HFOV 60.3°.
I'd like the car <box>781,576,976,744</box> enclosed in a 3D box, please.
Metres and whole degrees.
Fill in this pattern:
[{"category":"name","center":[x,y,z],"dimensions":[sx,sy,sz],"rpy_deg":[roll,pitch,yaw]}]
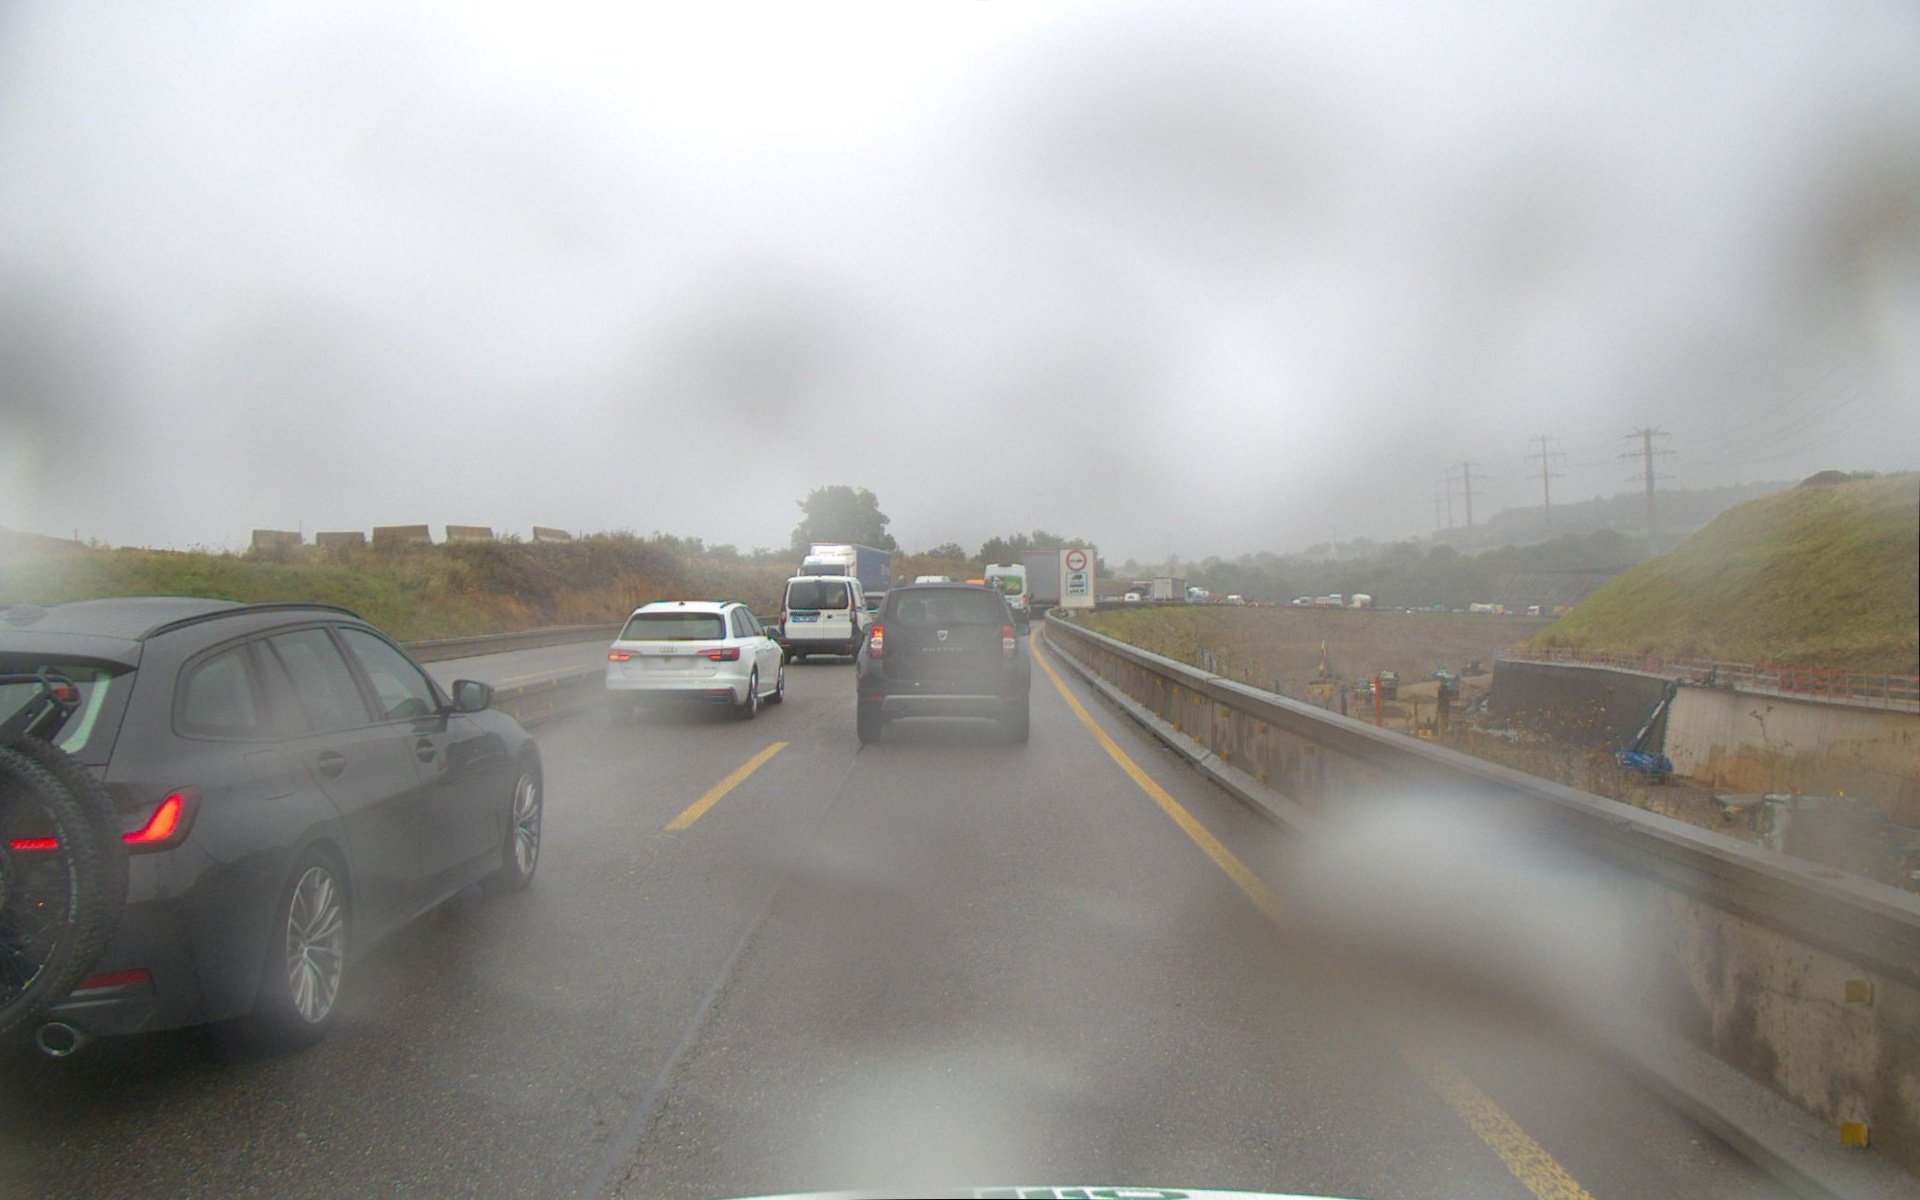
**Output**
[{"category":"car","center":[-0.773,0.598,18.023],"dimensions":[1.788,1.619,4.001],"rpy_deg":[0,-1,2]}]

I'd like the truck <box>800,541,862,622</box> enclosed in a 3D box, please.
[{"category":"truck","center":[-6.739,-1.001,87.166],"dimensions":[2.731,4.105,5.821],"rpy_deg":[0,1,1]}]

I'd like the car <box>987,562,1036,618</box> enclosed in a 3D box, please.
[{"category":"car","center":[2.364,-0.424,75.248],"dimensions":[1.787,2.480,4.161],"rpy_deg":[0,-1,8]}]

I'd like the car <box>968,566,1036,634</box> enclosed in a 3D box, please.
[{"category":"car","center":[1.233,0.017,46.985],"dimensions":[1.788,1.847,4.002],"rpy_deg":[0,-1,3]}]

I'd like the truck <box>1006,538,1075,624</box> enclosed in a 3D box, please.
[{"category":"truck","center":[5.182,-1.107,104.090],"dimensions":[3.468,5.166,10.449],"rpy_deg":[0,-1,8]}]

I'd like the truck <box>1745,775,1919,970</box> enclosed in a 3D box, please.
[{"category":"truck","center":[23.151,6.707,42.147],"dimensions":[2.672,3.552,9.070],"rpy_deg":[0,-1,5]}]

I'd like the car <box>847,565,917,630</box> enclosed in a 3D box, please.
[{"category":"car","center":[-2.279,-0.052,49.320],"dimensions":[1.788,1.847,4.001],"rpy_deg":[0,-1,1]}]

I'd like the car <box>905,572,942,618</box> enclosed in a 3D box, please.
[{"category":"car","center":[-2.203,-0.369,100.928],"dimensions":[1.964,2.700,6.886],"rpy_deg":[0,1,1]}]

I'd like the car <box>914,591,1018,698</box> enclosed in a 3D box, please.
[{"category":"car","center":[0.071,0.785,30.570],"dimensions":[1.789,1.847,3.999],"rpy_deg":[0,-1,-1]}]

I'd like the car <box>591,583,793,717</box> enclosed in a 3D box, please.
[{"category":"car","center":[-3.287,0.591,21.030],"dimensions":[1.788,1.525,4.001],"rpy_deg":[0,-1,2]}]

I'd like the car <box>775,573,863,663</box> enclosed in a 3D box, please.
[{"category":"car","center":[-3.038,0.384,36.197],"dimensions":[1.790,1.847,3.997],"rpy_deg":[0,-1,-4]}]

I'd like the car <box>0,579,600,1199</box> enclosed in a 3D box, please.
[{"category":"car","center":[-2.872,0.714,6.626],"dimensions":[1.699,1.488,5.629],"rpy_deg":[0,2,-1]}]

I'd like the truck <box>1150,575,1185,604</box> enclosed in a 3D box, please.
[{"category":"truck","center":[27.921,-1.409,222.404],"dimensions":[3.398,3.780,8.423],"rpy_deg":[-1,0,16]}]

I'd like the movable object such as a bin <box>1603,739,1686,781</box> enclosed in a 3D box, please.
[{"category":"movable object such as a bin","center":[37.478,8.733,90.598],"dimensions":[1.978,2.049,3.792],"rpy_deg":[4,-4,-36]}]
